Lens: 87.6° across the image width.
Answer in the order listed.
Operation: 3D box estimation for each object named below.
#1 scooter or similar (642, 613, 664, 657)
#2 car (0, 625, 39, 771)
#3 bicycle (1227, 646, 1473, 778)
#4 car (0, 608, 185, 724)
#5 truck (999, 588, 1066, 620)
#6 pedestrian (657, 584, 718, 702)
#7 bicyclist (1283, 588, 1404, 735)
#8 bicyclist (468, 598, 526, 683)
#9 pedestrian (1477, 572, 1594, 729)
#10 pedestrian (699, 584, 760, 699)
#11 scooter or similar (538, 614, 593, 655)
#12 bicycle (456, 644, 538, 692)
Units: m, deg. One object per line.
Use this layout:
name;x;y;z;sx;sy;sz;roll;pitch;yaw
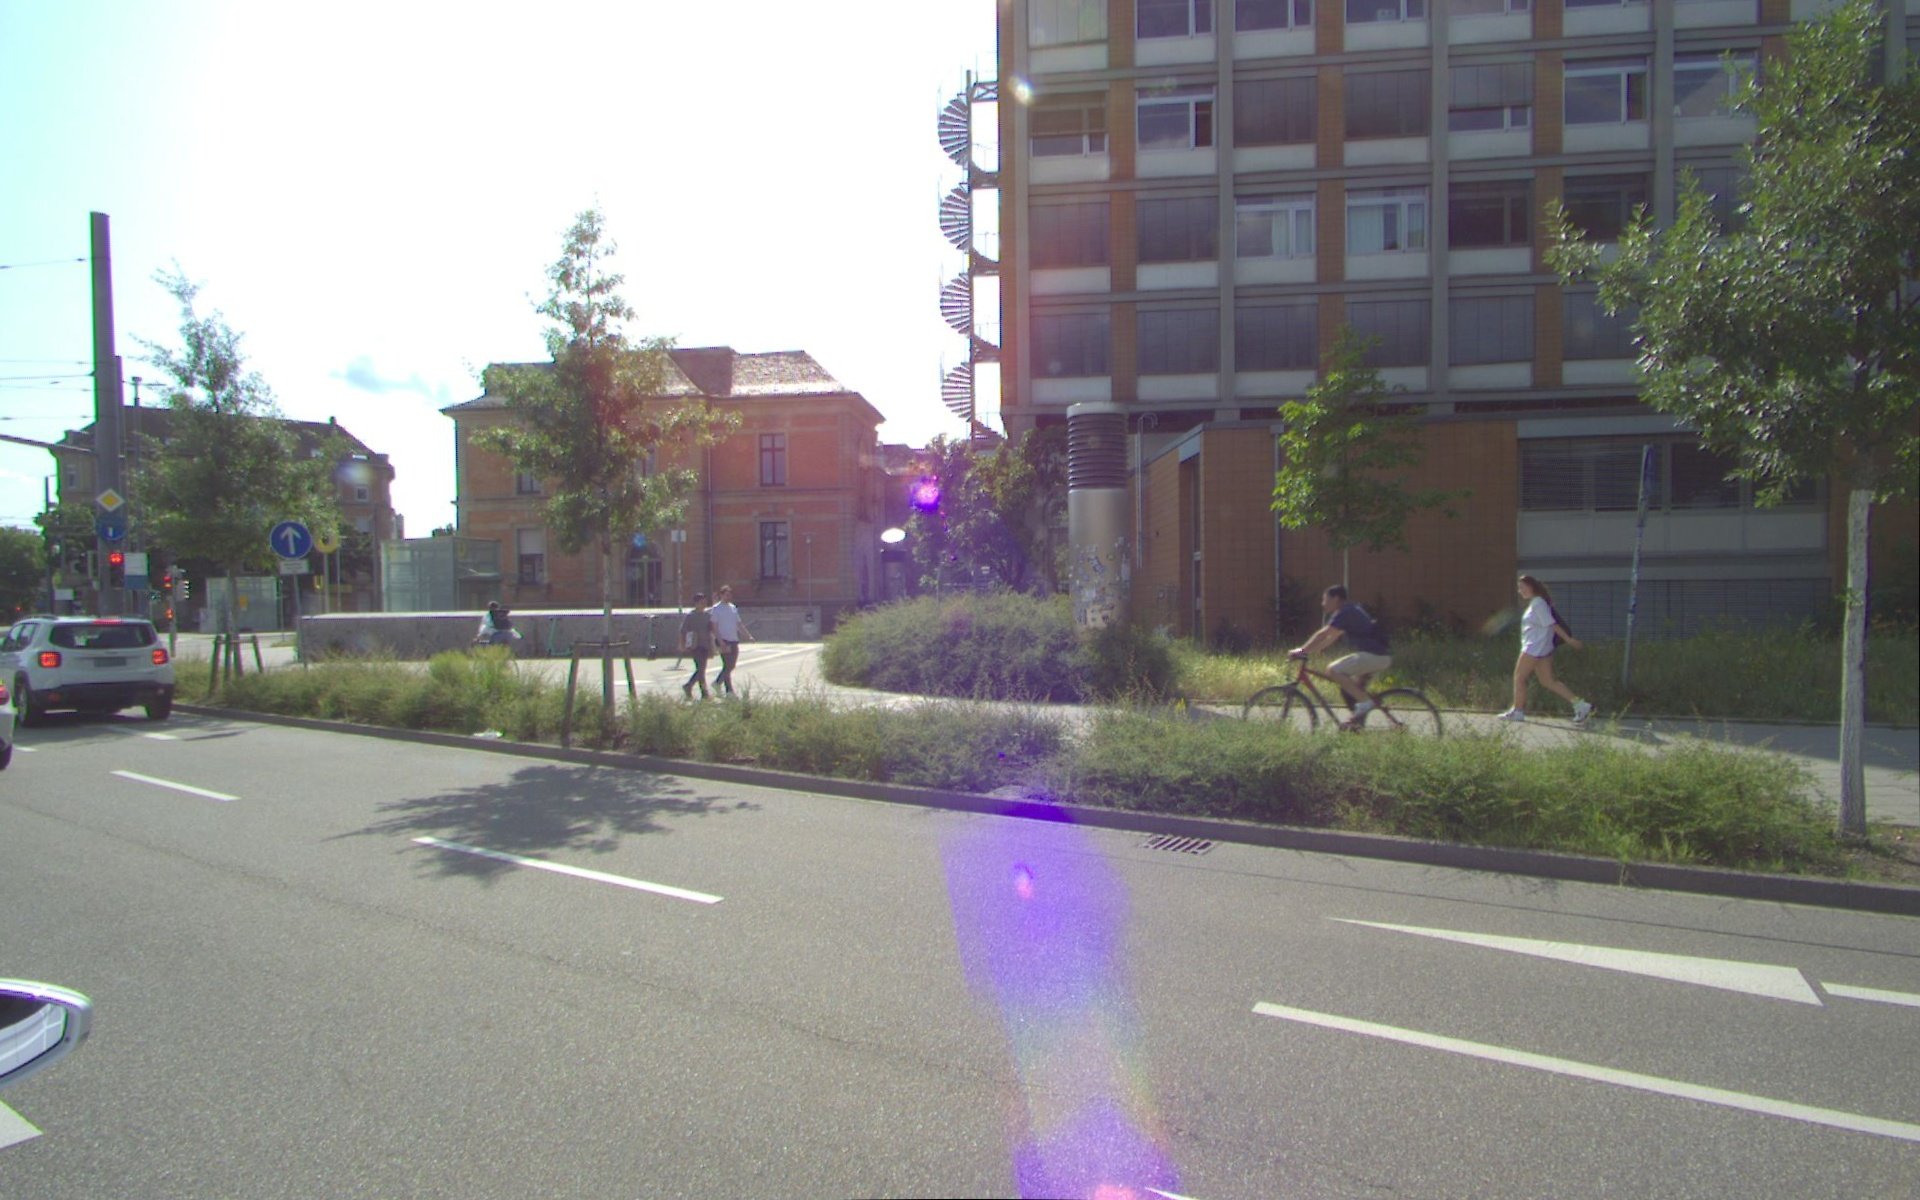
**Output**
scooter or similar;-8.345;0.946;27.233;0.457;1.119;1.316;-1;1;-13
car;-11.325;0.996;10.467;3.631;1.437;1.844;-1;-1;36
bicycle;3.481;0.951;8.983;1.932;0.983;0.845;-1;3;32
car;-14.394;1.006;16.398;3.951;1.673;1.829;-2;-1;39
truck;4.909;0.283;67.494;4.304;2.039;2.000;0;-2;11
pedestrian;-4.345;0.656;15.957;0.732;1.778;0.886;-3;2;-24
bicyclist;3.441;0.521;8.975;0.910;1.237;0.633;0;3;32
bicyclist;-8.253;0.707;17.856;0.763;1.470;0.606;0;0;33
pedestrian;6.371;0.539;11.100;1.081;1.645;0.612;-1;3;32
pedestrian;-3.748;0.649;16.273;0.732;1.770;0.886;-3;2;-25
scooter or similar;-11.257;0.988;28.611;1.420;1.133;0.465;0;2;13
bicycle;-8.279;1.196;17.875;1.599;0.786;0.583;-1;0;34
